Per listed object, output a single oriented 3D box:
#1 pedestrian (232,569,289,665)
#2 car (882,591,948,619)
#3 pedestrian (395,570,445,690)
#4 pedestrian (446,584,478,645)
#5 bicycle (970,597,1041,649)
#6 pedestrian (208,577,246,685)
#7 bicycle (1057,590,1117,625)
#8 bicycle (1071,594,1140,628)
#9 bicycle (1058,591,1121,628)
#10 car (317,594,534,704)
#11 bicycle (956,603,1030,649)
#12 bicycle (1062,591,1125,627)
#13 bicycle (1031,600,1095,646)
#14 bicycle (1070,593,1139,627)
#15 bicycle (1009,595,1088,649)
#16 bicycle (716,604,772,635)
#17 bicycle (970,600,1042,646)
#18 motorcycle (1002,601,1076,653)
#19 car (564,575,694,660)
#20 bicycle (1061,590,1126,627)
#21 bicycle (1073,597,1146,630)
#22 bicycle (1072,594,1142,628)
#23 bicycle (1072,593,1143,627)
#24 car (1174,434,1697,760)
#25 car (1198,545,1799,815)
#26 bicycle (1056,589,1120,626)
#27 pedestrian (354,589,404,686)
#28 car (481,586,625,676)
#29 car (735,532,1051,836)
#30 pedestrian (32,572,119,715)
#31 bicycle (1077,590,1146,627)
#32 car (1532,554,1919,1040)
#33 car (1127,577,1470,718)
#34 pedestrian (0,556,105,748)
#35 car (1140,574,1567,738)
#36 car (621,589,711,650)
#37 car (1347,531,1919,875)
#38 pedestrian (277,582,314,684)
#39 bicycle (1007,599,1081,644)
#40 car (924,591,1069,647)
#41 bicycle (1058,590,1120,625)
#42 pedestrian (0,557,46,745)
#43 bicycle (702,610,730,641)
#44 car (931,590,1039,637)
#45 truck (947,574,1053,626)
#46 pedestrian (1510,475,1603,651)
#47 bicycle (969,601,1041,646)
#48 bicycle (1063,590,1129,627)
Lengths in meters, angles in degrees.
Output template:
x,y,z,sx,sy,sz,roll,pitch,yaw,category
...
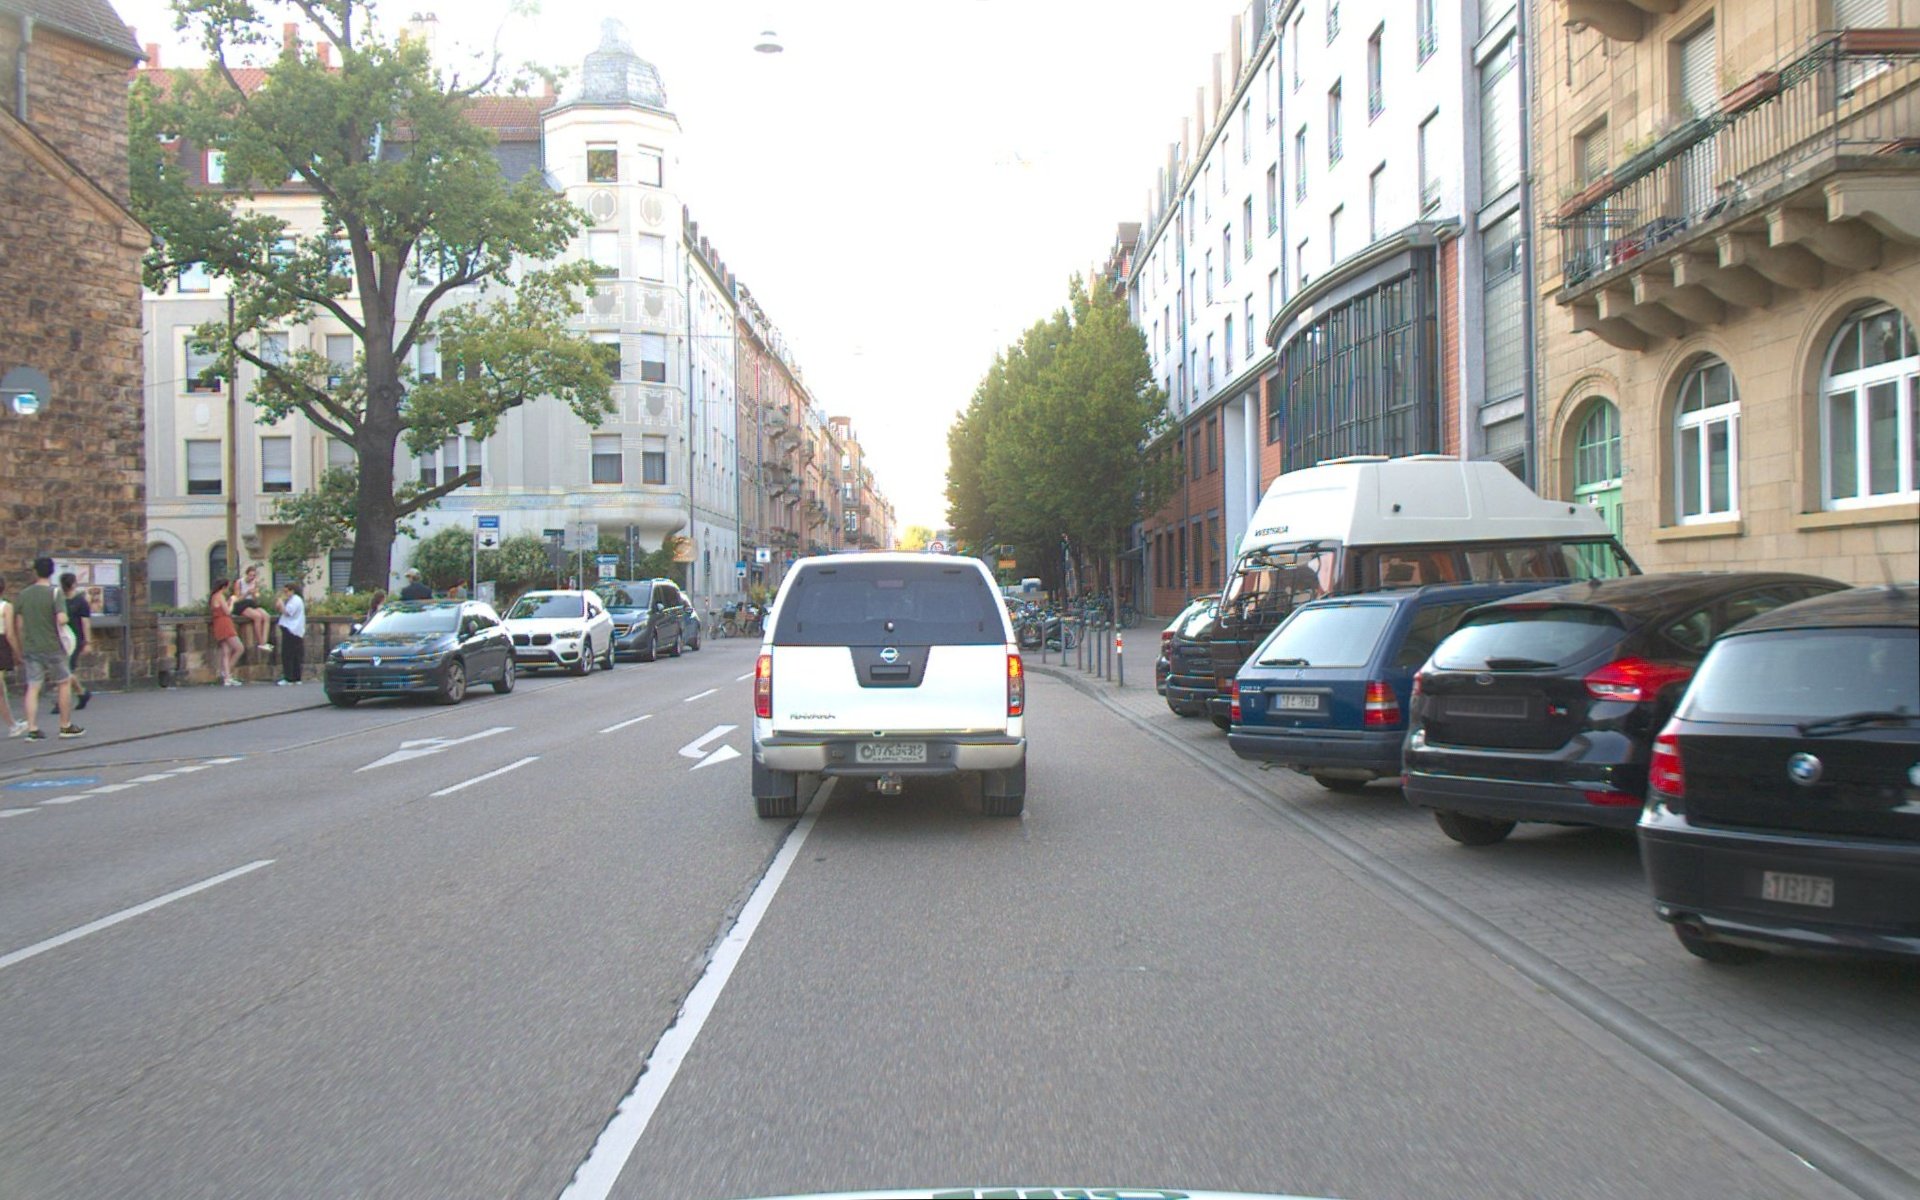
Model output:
x,y,z,sx,sy,sz,roll,pitch,yaw,category
-11.577,0.274,27.388,0.637,1.572,0.585,-1,0,23,pedestrian
-2.937,0.329,108.569,4.106,1.811,1.821,0,0,5,car
-8.941,0.486,27.398,0.570,1.938,0.802,-1,0,-4,pedestrian
-14.474,0.408,48.083,0.692,1.751,0.836,-1,0,-2,pedestrian
1.126,0.557,41.032,1.673,1.196,0.471,-3,0,-2,bicycle
-11.767,0.488,26.557,0.411,1.704,0.540,0,0,-40,pedestrian
5.338,0.301,69.456,2.482,1.403,0.599,-1,0,2,bicycle
5.289,0.383,60.243,2.482,1.187,0.562,-1,0,2,bicycle
5.207,0.381,66.729,2.482,1.403,0.599,-1,0,2,bicycle
-7.789,0.662,24.547,1.746,1.460,4.316,-1,0,1,car
0.838,0.647,41.927,1.820,1.056,0.471,-3,0,-2,bicycle
5.328,0.352,66.085,2.482,1.403,0.599,-1,0,2,bicycle
2.590,0.577,41.585,1.509,1.056,0.471,-3,0,-2,bicycle
5.299,0.377,60.854,2.482,1.187,0.562,-1,0,2,bicycle
2.148,0.529,40.465,1.821,1.166,0.659,-4,0,-1,bicycle
-7.932,0.715,60.603,2.068,1.114,0.501,0,1,24,bicycle
1.193,0.589,43.021,1.820,1.084,0.445,-3,0,-2,bicycle
1.864,0.632,39.044,1.614,1.121,0.646,-3,0,-9,motorcycle
-7.842,0.381,39.678,1.952,1.899,5.290,-1,0,1,car
5.217,0.326,64.572,2.482,1.403,0.599,-1,0,2,bicycle
5.268,0.486,58.348,2.482,0.976,0.680,-4,0,2,bicycle
5.285,0.401,59.601,2.482,1.187,0.562,-1,0,2,bicycle
5.243,0.352,58.970,2.482,1.187,0.562,-1,0,2,bicycle
4.414,-0.043,15.176,4.660,2.591,1.899,-1,-1,-30,car
4.051,0.478,12.242,4.342,1.512,1.824,-4,1,-31,car
5.263,0.300,68.167,2.483,1.266,0.599,-6,0,2,bicycle
-9.564,0.607,27.259,0.570,1.579,0.839,0,0,-4,pedestrian
-7.914,0.560,32.556,1.833,1.619,4.467,-1,0,-2,car
-0.446,0.522,12.351,1.894,1.826,4.620,1,0,-1,car
-11.159,0.541,20.887,0.699,1.755,0.692,-1,0,0,pedestrian
5.222,0.291,57.141,2.298,1.118,0.680,-4,0,2,bicycle
4.322,0.534,6.582,3.989,1.456,1.845,-4,0,-35,car
4.146,0.516,20.074,4.017,1.518,1.705,-1,0,-32,car
-9.357,0.520,17.052,0.634,1.912,0.890,-1,0,-4,pedestrian
4.236,0.524,17.695,4.294,1.529,1.895,-1,0,-29,car
-7.901,0.498,44.808,1.606,1.583,4.005,-1,0,2,car
4.412,0.473,9.520,4.063,1.573,1.778,-2,-2,-29,car
-10.848,0.531,27.006,0.411,1.650,0.540,0,0,-40,pedestrian
2.153,0.558,42.565,1.820,1.056,0.402,-3,0,-2,bicycle
1.087,0.534,48.720,3.945,1.533,1.752,-1,0,-30,car
5.243,0.300,67.528,2.482,1.403,0.599,-1,0,2,bicycle
-9.965,0.516,17.048,0.561,1.889,0.988,-1,0,-4,pedestrian
-8.762,0.911,59.427,0.414,1.030,1.720,0,1,13,bicycle
0.907,0.471,59.381,3.562,1.608,1.696,-1,0,-34,car
2.368,0.017,98.252,6.190,3.029,2.264,0,-3,1,truck
7.315,-0.449,20.318,0.595,2.047,0.858,7,1,1,pedestrian
1.190,0.610,43.778,1.820,1.084,0.445,-3,0,-2,bicycle
5.248,0.326,63.858,2.482,1.403,0.599,-1,0,2,bicycle
